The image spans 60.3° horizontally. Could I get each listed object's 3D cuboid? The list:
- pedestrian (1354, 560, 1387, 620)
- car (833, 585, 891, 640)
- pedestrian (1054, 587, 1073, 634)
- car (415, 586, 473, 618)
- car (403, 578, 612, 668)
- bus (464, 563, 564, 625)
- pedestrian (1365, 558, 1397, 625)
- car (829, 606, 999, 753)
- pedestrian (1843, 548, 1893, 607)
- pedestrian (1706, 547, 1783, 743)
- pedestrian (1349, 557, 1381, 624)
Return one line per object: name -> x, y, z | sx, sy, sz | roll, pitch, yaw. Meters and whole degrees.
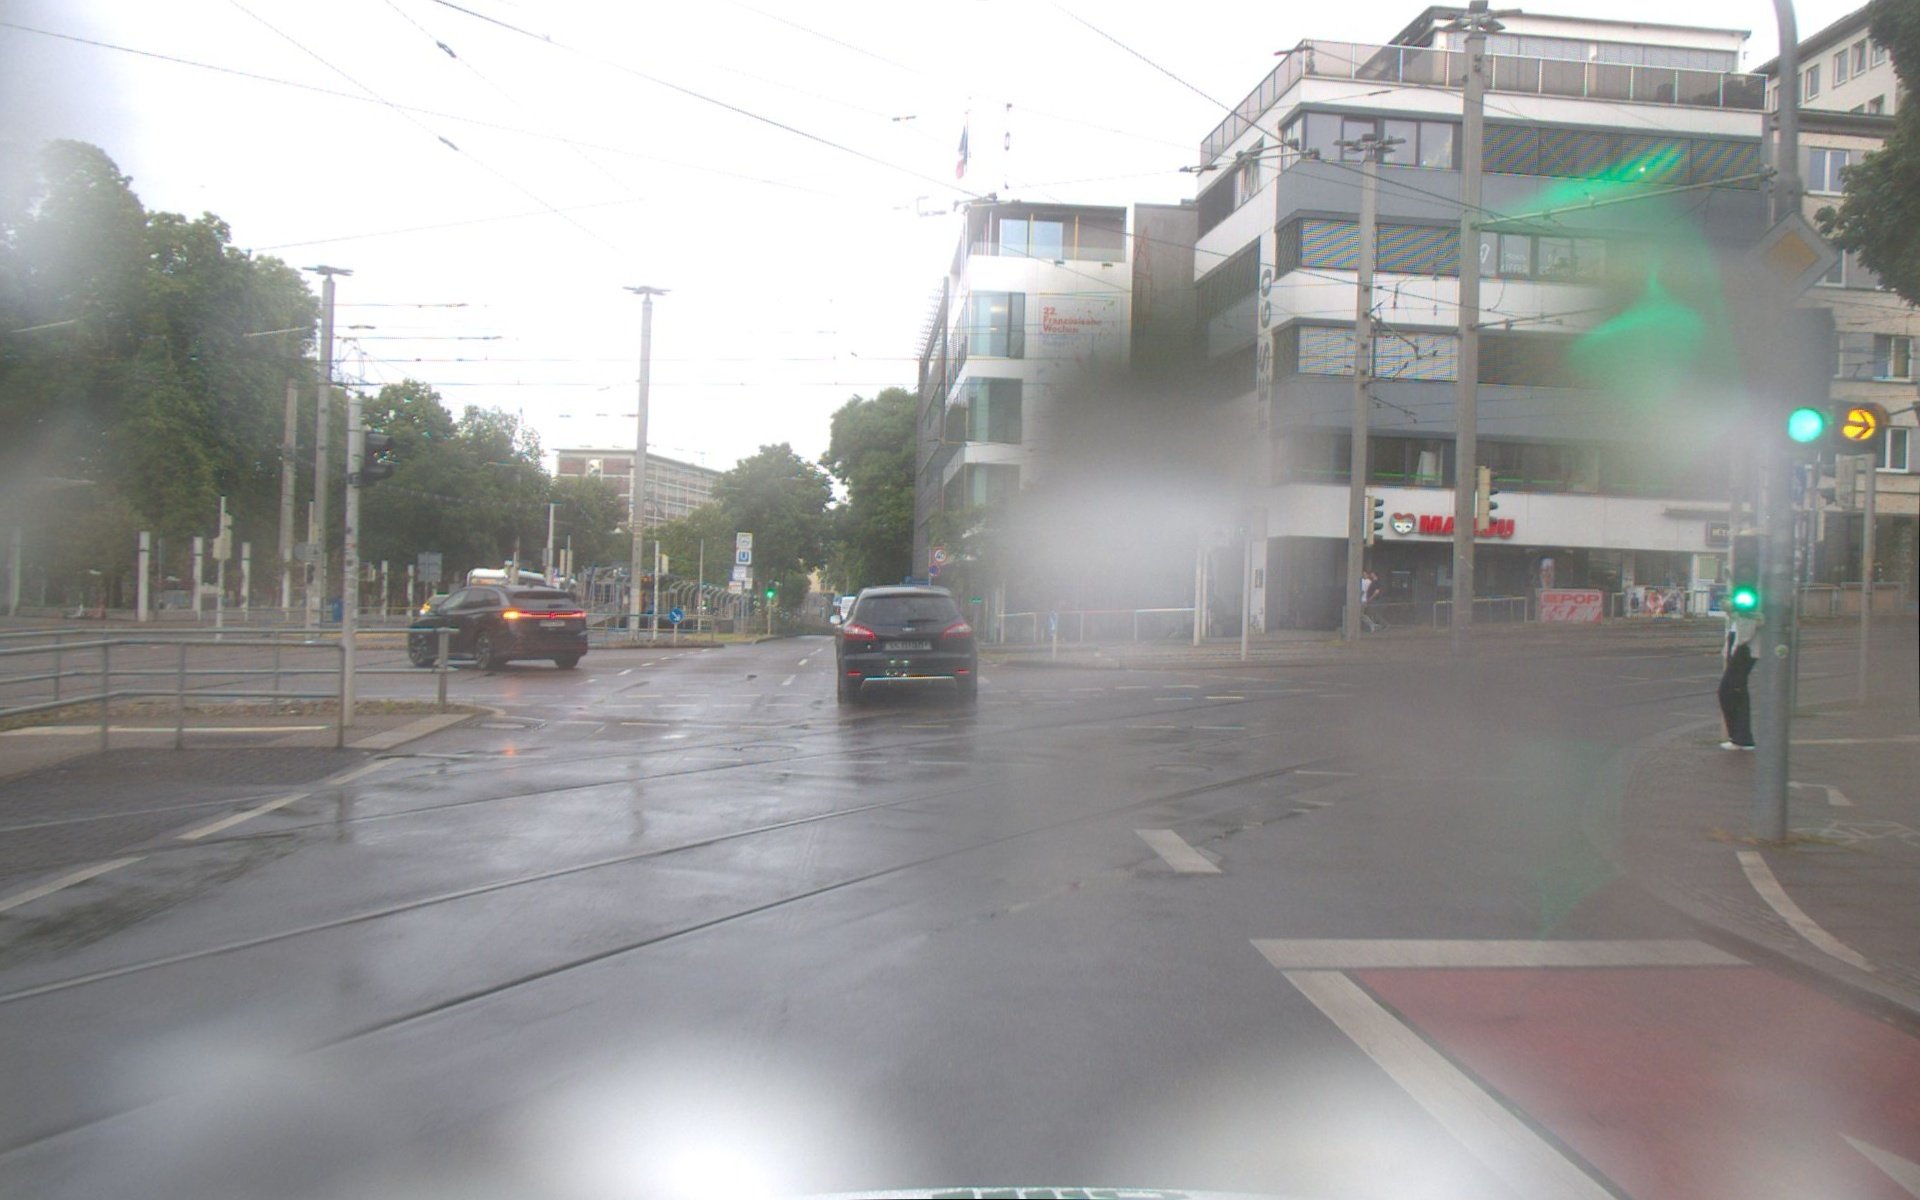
pedestrian -> 12.328, -0.309, 49.663 | 0.706, 1.792, 0.694 | 1, 1, 42
car -> -3.640, 0.438, 62.109 | 1.995, 1.872, 4.391 | 2, 1, -1
pedestrian -> 3.484, 0.344, 55.765 | 0.530, 1.590, 0.522 | 0, 0, 17
car -> -28.711, 0.089, 92.203 | 1.953, 1.674, 4.535 | 0, 1, -2
car -> -8.545, 0.369, 30.989 | 2.086, 1.532, 4.664 | 0, 1, -40
bus -> -25.888, -0.405, 96.769 | 3.015, 3.358, 12.517 | 0, 1, -3
pedestrian -> 12.442, -0.256, 48.884 | 0.704, 1.947, 0.696 | 1, 1, 35
car -> -0.667, 0.962, 22.012 | 1.995, 1.612, 4.390 | 2, 1, -3
pedestrian -> 26.937, -0.677, 49.079 | 0.976, 1.710, 0.889 | -1, 0, -7
pedestrian -> 7.170, 0.390, 15.107 | 0.518, 1.742, 0.703 | 1, 1, 35
pedestrian -> 11.833, -0.286, 48.319 | 0.704, 1.947, 0.696 | 1, 1, 35
